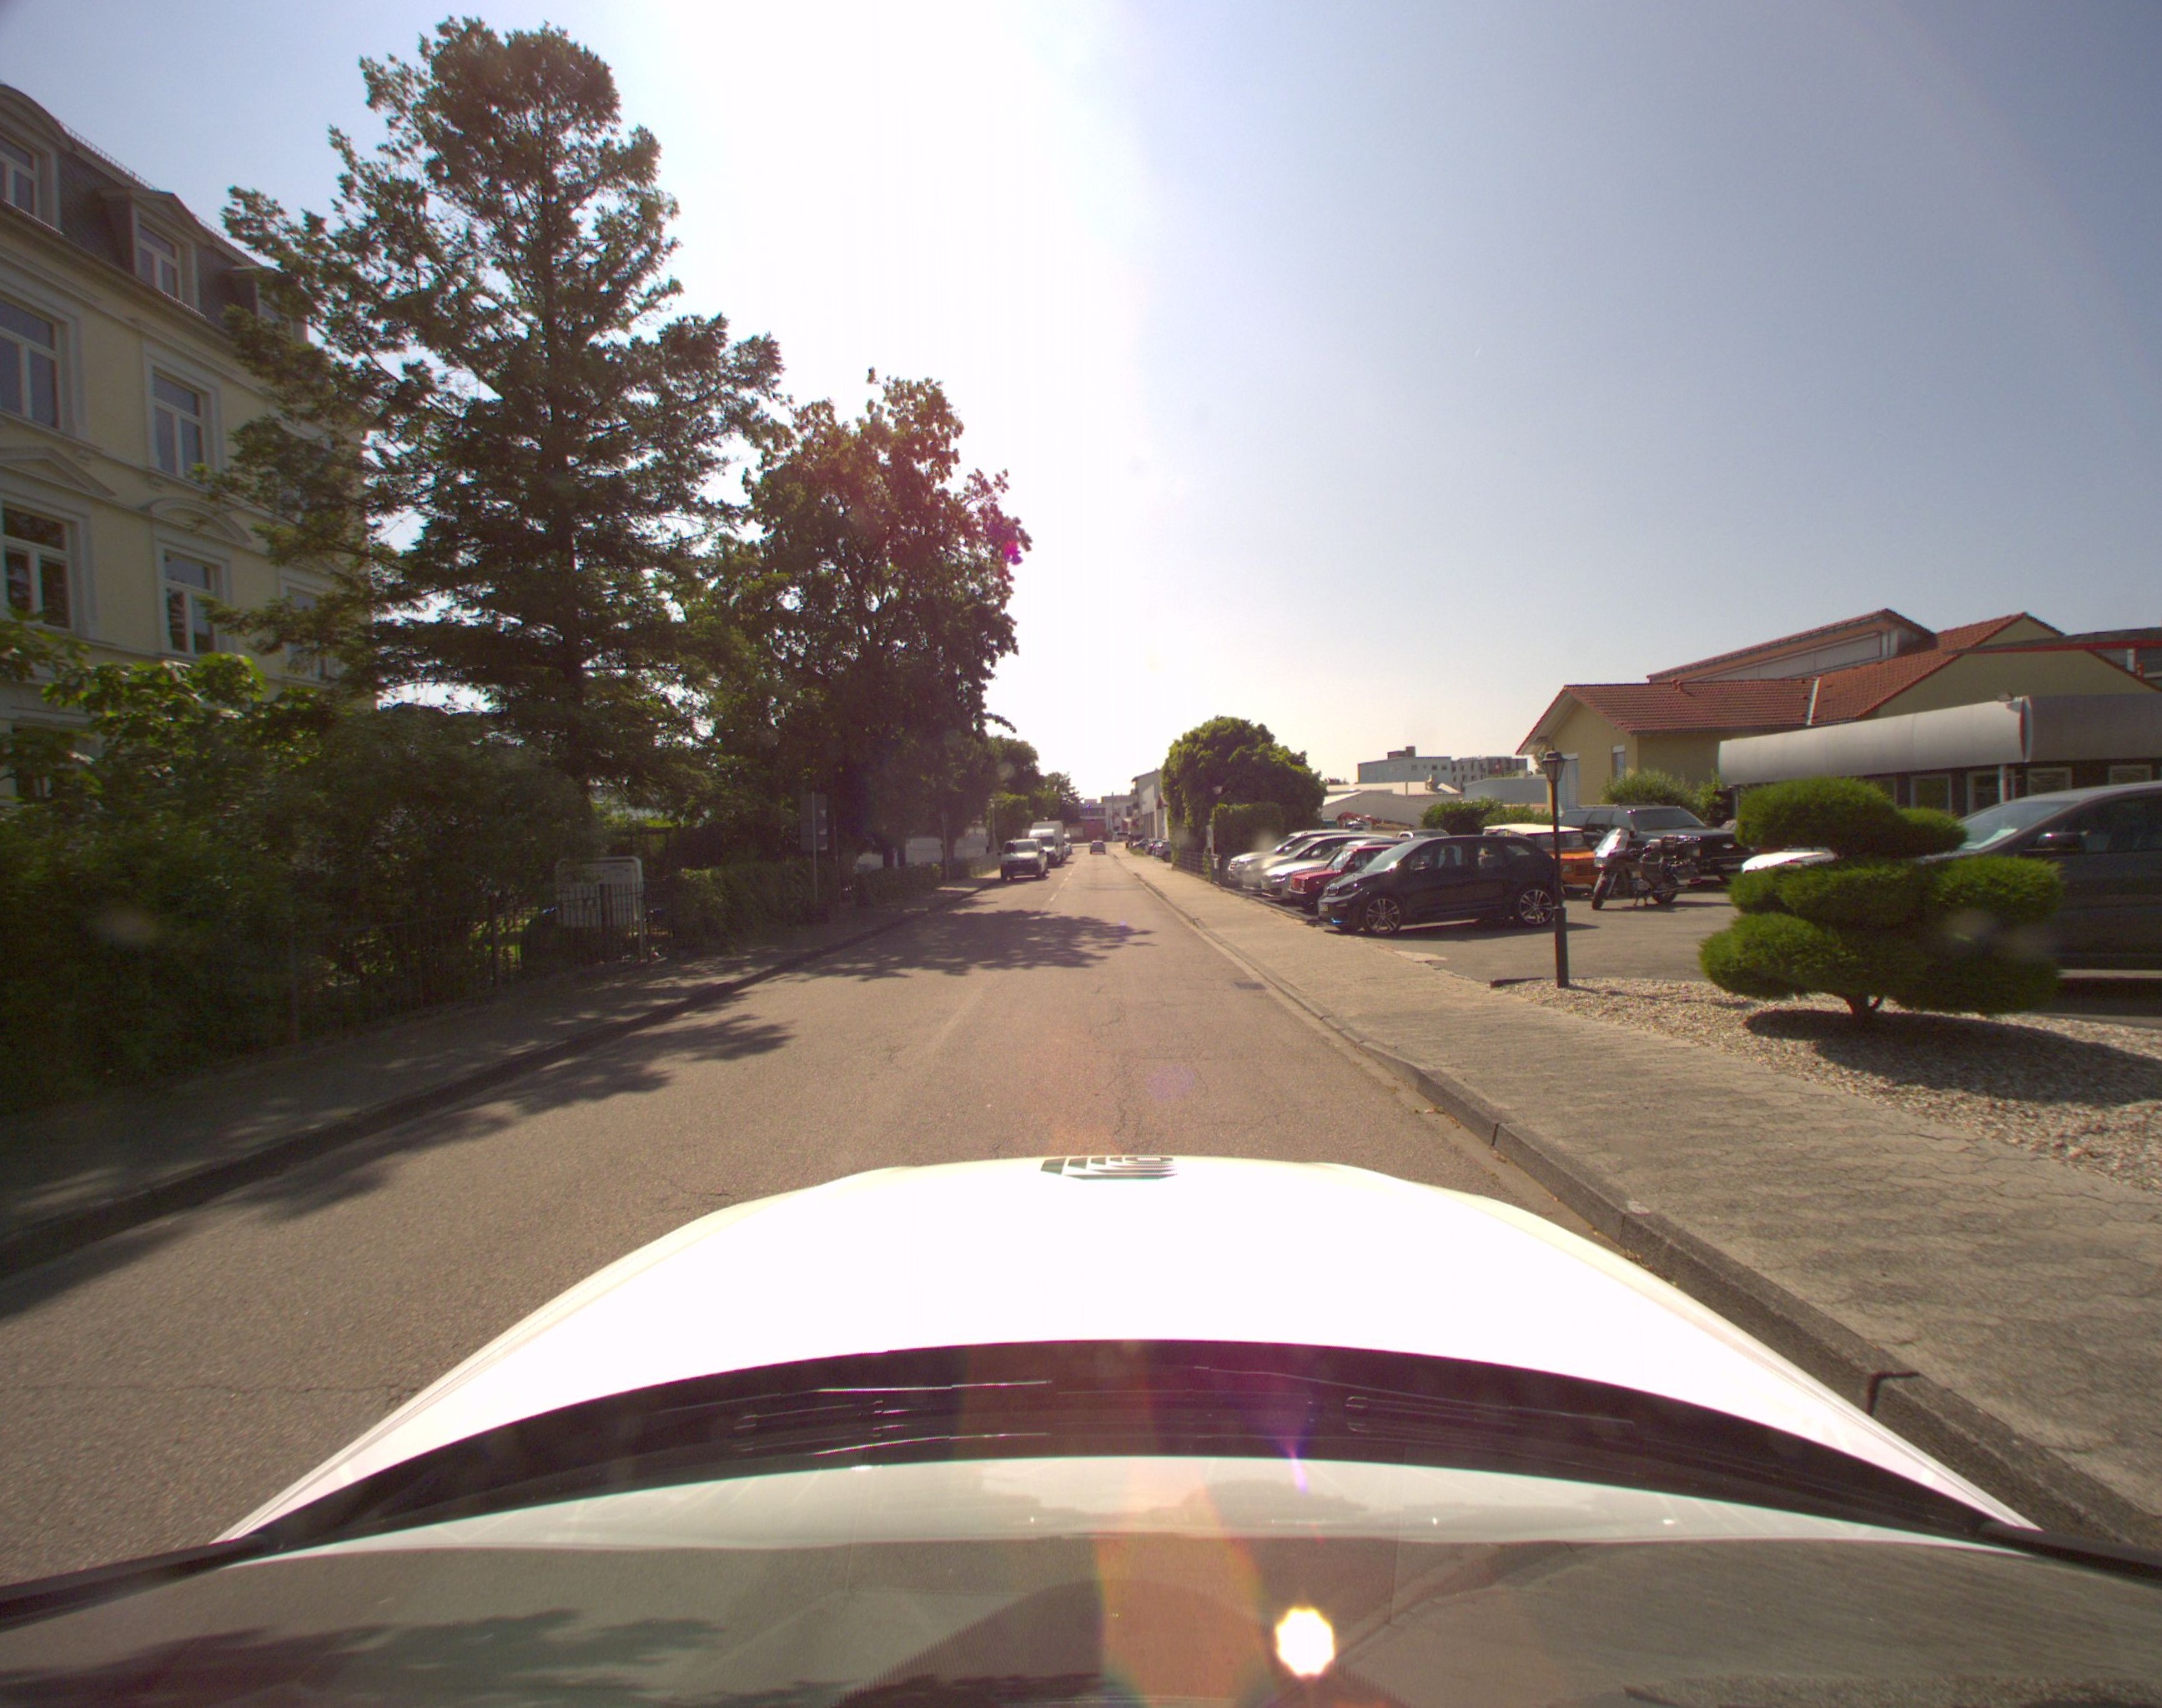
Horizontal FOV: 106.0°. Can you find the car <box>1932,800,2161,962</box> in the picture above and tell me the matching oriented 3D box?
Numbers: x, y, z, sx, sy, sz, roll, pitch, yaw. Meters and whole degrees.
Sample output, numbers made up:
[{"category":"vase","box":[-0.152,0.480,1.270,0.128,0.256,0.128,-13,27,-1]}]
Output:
[{"category":"car","box":[12.595,0.192,8.602,4.522,1.636,1.935,-3,-1,22]}]

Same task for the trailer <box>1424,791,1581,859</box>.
[{"category":"trailer","box":[26.792,-1.835,52.070,8.292,3.862,3.073,-2,1,6]}]

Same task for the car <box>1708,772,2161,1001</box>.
[{"category":"car","box":[8.792,0.220,7.112,4.934,1.762,1.937,-2,1,26]}]

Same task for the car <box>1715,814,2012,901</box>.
[{"category":"car","box":[15.065,0.043,15.826,4.110,1.318,1.946,-4,1,-6]}]

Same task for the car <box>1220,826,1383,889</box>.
[{"category":"car","box":[6.588,0.090,24.664,4.391,1.653,1.842,-2,1,-2]}]

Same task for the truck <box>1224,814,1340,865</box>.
[{"category":"truck","box":[14.008,-1.024,57.058,7.492,3.422,2.527,1,1,0]}]

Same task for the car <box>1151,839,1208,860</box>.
[{"category":"car","box":[7.925,-0.364,65.931,4.339,1.441,1.892,-3,1,0]}]

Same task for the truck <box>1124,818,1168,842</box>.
[{"category":"truck","box":[11.769,-4.310,147.637,7.349,3.644,2.763,-5,2,-6]}]

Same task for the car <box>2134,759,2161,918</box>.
[{"category":"car","box":[16.544,-0.302,9.720,4.525,2.150,1.935,-3,1,18]}]

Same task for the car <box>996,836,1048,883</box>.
[{"category":"car","box":[-2.812,0.223,39.896,1.964,2.013,5.057,-4,1,1]}]

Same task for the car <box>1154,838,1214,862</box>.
[{"category":"car","box":[7.514,-0.288,59.807,4.187,1.682,1.767,1,1,0]}]

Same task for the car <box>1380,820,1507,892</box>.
[{"category":"car","box":[10.317,0.055,23.506,1.987,1.860,3.788,-1,0,0]}]

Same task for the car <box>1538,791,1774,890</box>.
[{"category":"car","box":[13.628,-0.306,19.782,1.989,2.013,4.901,-3,1,-4]}]

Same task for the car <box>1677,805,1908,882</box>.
[{"category":"car","box":[17.205,-0.246,20.003,1.990,1.596,3.994,-3,1,-4]}]

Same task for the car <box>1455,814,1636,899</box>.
[{"category":"car","box":[10.801,0.036,19.336,1.987,1.728,4.000,-2,1,0]}]

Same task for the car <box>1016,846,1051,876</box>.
[{"category":"car","box":[-2.700,0.370,47.073,1.709,1.543,4.400,-4,1,0]}]

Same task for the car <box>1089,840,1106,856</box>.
[{"category":"car","box":[1.849,-0.637,91.898,1.884,1.685,3.958,-2,1,0]}]

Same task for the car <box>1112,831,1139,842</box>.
[{"category":"car","box":[8.465,-3.336,155.903,4.668,1.957,1.905,-3,2,-18]}]

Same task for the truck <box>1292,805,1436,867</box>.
[{"category":"truck","box":[18.191,-1.142,52.765,8.240,3.610,2.956,-2,1,3]}]

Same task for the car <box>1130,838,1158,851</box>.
[{"category":"car","box":[7.449,-1.177,96.489,3.241,1.398,1.674,-3,1,1]}]

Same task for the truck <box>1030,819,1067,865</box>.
[{"category":"truck","box":[-2.618,-0.940,65.775,2.678,3.366,7.124,-3,0,-2]}]

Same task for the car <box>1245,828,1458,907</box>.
[{"category":"car","box":[6.390,0.301,19.549,4.396,1.497,1.894,-4,0,-5]}]

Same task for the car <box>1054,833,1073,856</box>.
[{"category":"car","box":[-2.051,-1.146,94.781,1.999,2.366,5.228,-5,1,-1]}]

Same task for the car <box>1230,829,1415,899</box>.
[{"category":"car","box":[6.500,0.256,22.228,4.396,1.527,1.894,-4,0,-5]}]

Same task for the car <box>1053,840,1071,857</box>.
[{"category":"car","box":[-2.086,-0.626,89.611,1.701,1.624,3.968,-4,1,-4]}]

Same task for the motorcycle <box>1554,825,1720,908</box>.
[{"category":"motorcycle","box":[10.714,0.221,15.723,2.682,1.433,1.007,-3,0,-10]}]

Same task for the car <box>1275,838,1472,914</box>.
[{"category":"car","box":[6.039,0.440,17.066,3.539,1.335,1.558,-3,0,-1]}]

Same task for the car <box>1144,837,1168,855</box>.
[{"category":"car","box":[7.296,-0.838,79.331,1.852,1.567,4.952,-3,1,0]}]

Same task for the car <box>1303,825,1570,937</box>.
[{"category":"car","box":[5.998,0.428,14.051,3.791,1.624,1.759,-3,0,-1]}]

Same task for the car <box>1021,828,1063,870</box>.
[{"category":"car","box":[-2.577,-0.353,55.883,2.160,2.595,6.924,-4,0,2]}]
